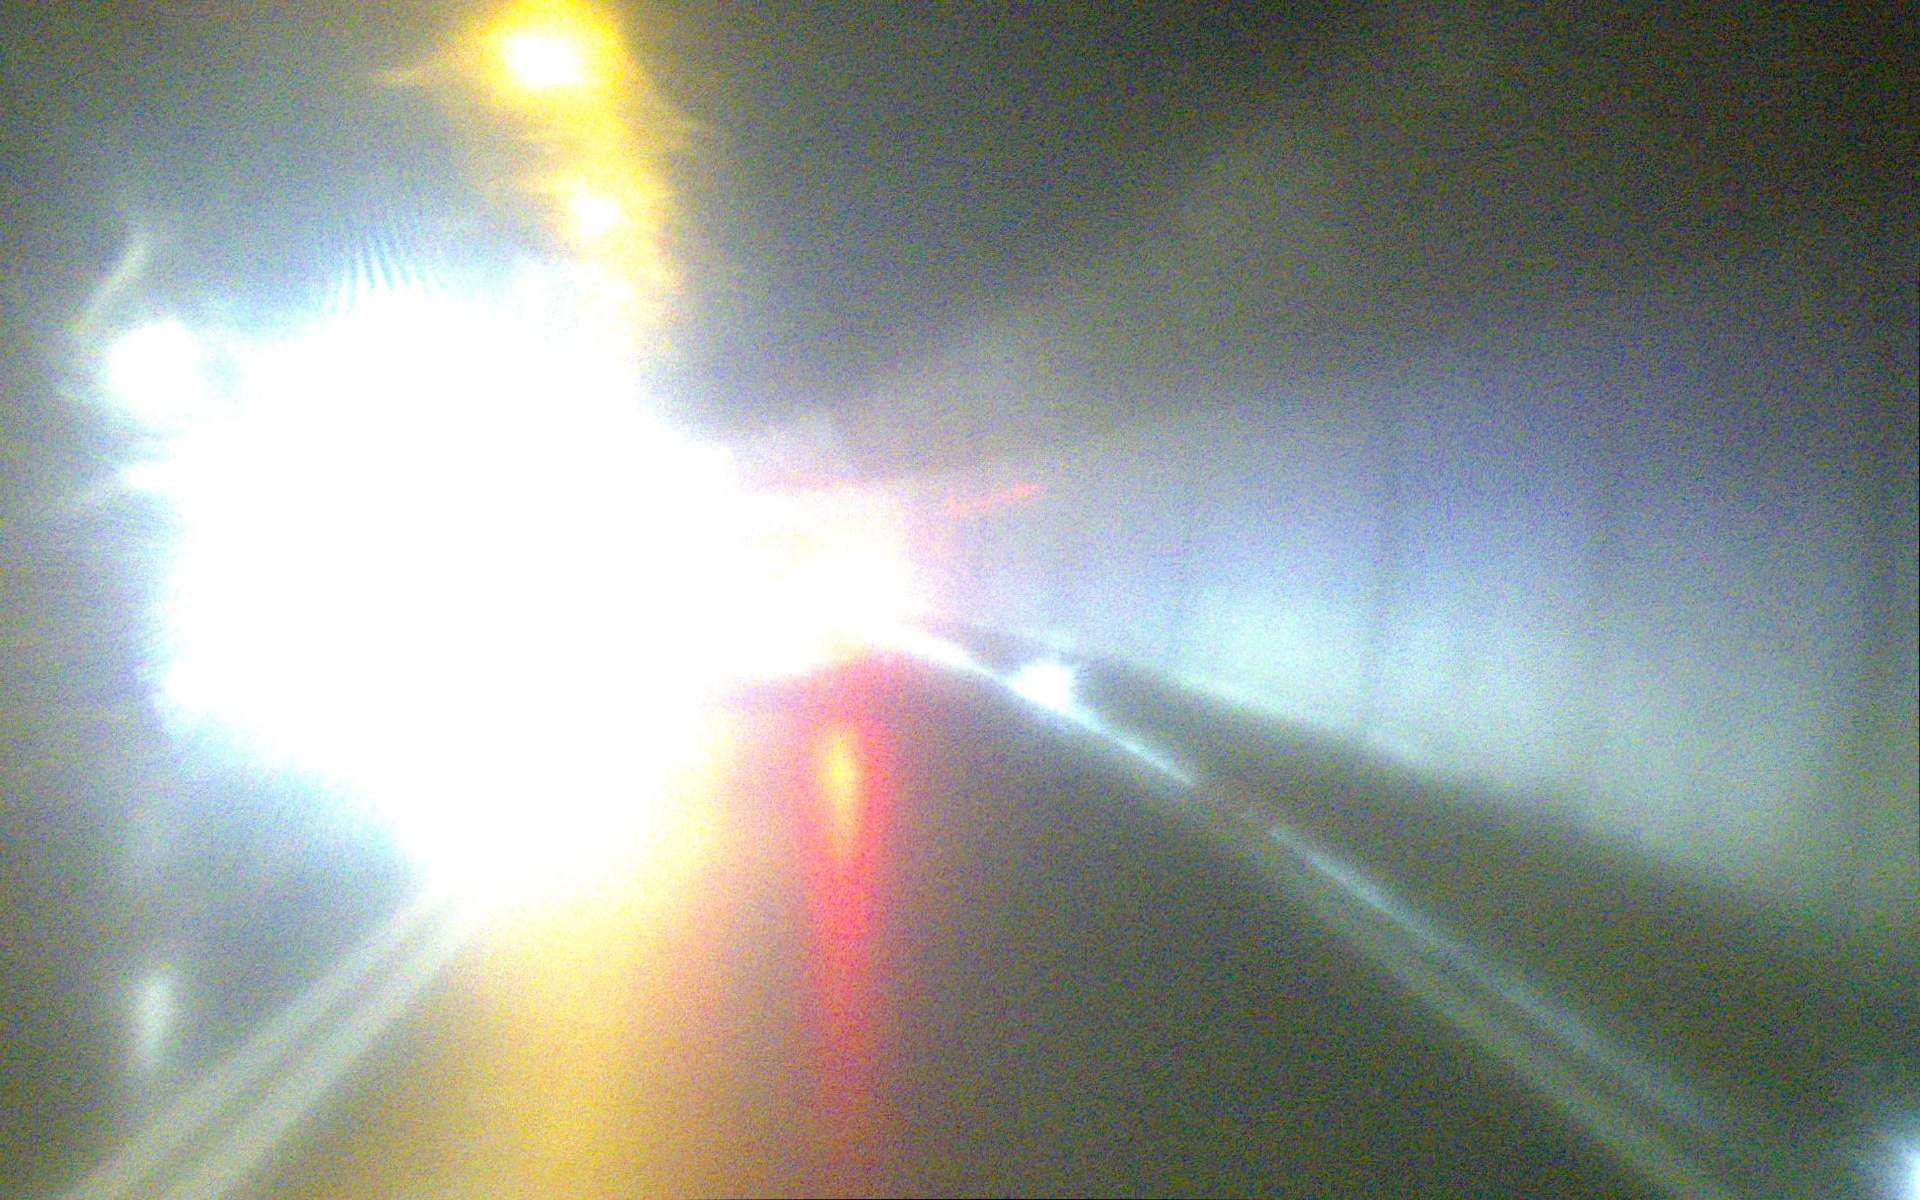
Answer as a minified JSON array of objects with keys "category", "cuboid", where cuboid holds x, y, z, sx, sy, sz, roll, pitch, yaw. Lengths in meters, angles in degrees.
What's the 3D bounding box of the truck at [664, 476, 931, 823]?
[{"category":"truck","cuboid":[-1.552,0.388,34.171,2.262,3.000,7.416,2,1,-2]}]
